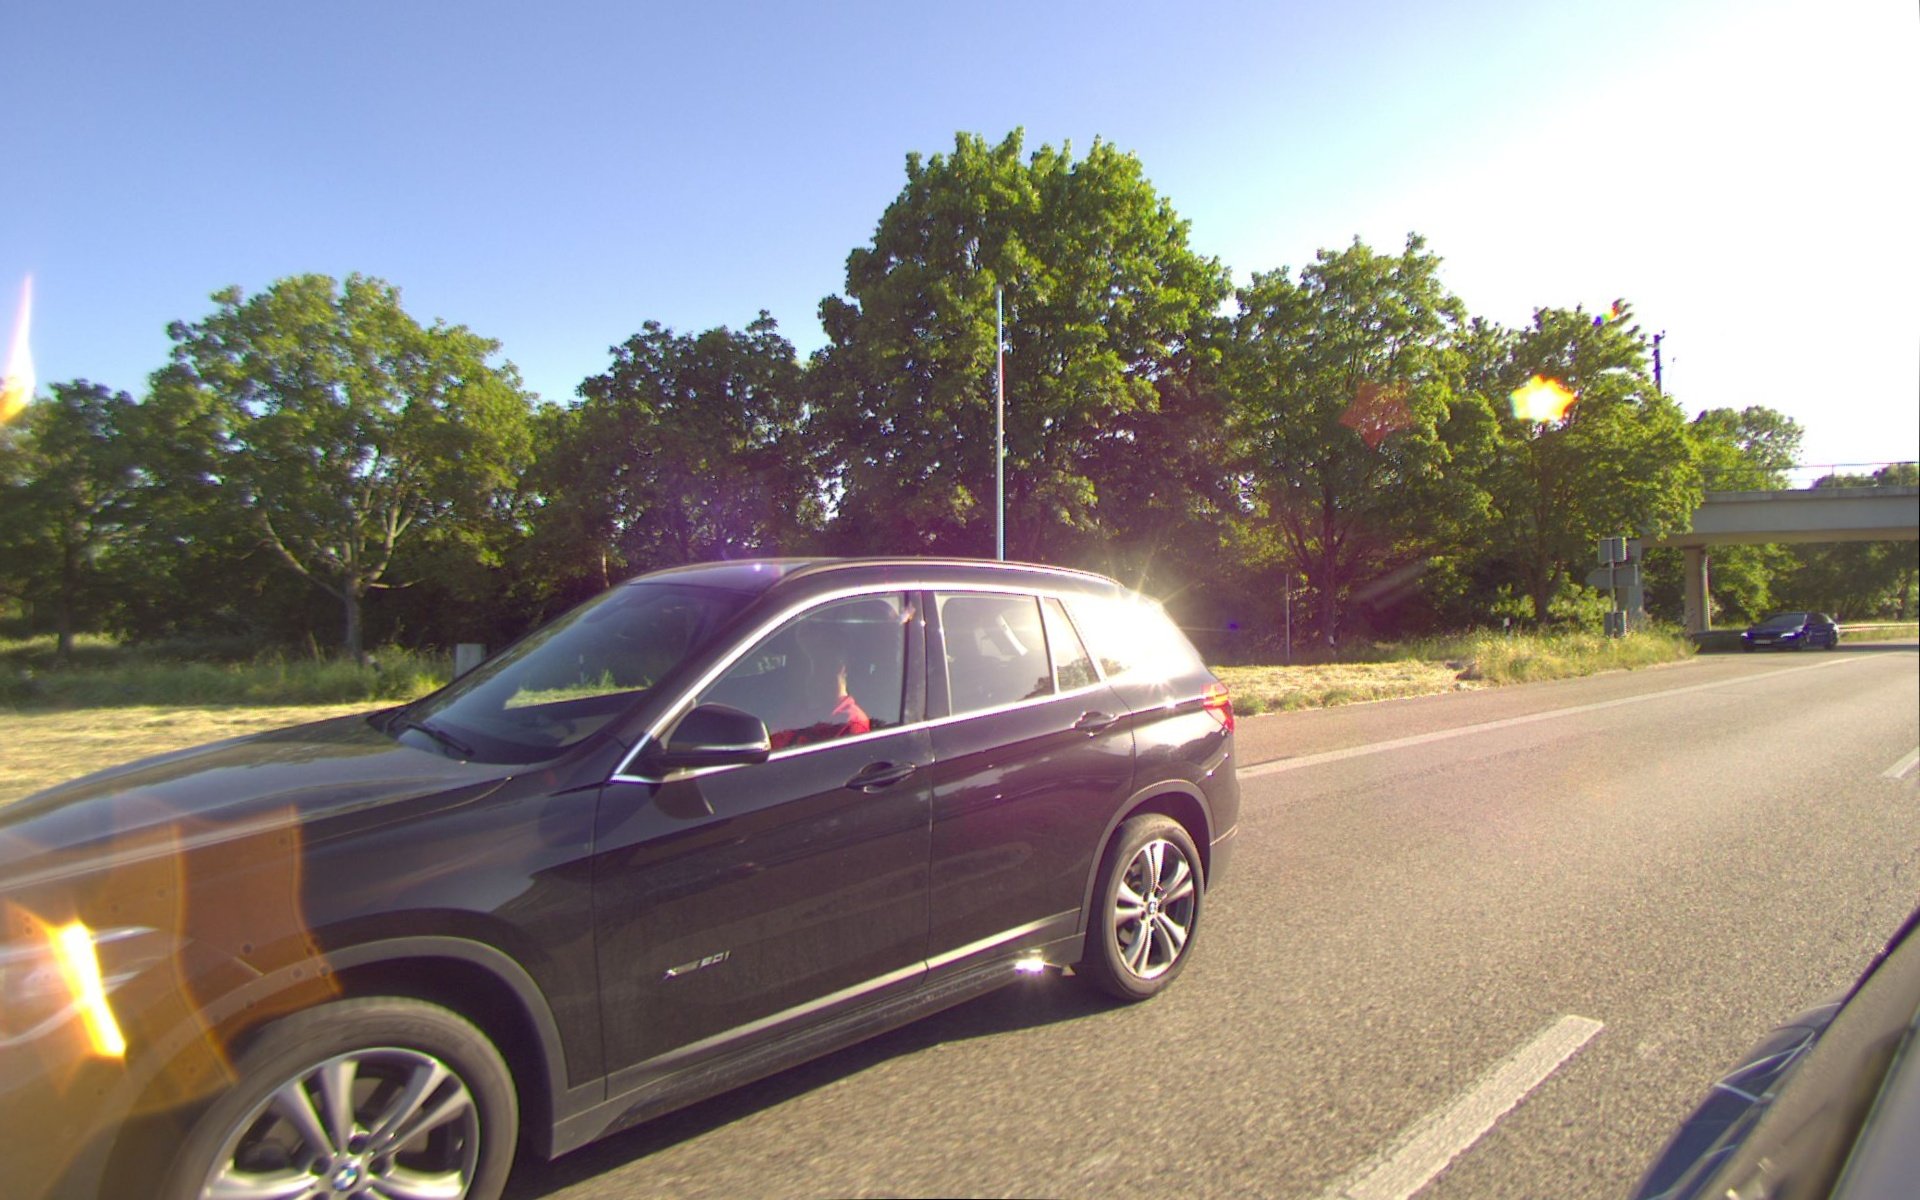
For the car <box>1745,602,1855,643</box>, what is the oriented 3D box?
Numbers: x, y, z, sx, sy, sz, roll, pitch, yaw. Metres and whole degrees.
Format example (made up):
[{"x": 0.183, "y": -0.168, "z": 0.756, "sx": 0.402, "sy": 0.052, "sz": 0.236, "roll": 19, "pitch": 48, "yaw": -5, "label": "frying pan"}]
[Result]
[{"x": 31.268, "y": 0.846, "z": 37.661, "sx": 3.973, "sy": 1.428, "sz": 1.765, "roll": 1, "pitch": -5, "yaw": -29, "label": "car"}]

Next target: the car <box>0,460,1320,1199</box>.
[{"x": -0.657, "y": 0.583, "z": 3.611, "sx": 4.442, "sy": 1.593, "sz": 1.758, "roll": 1, "pitch": 0, "yaw": -42, "label": "car"}]
